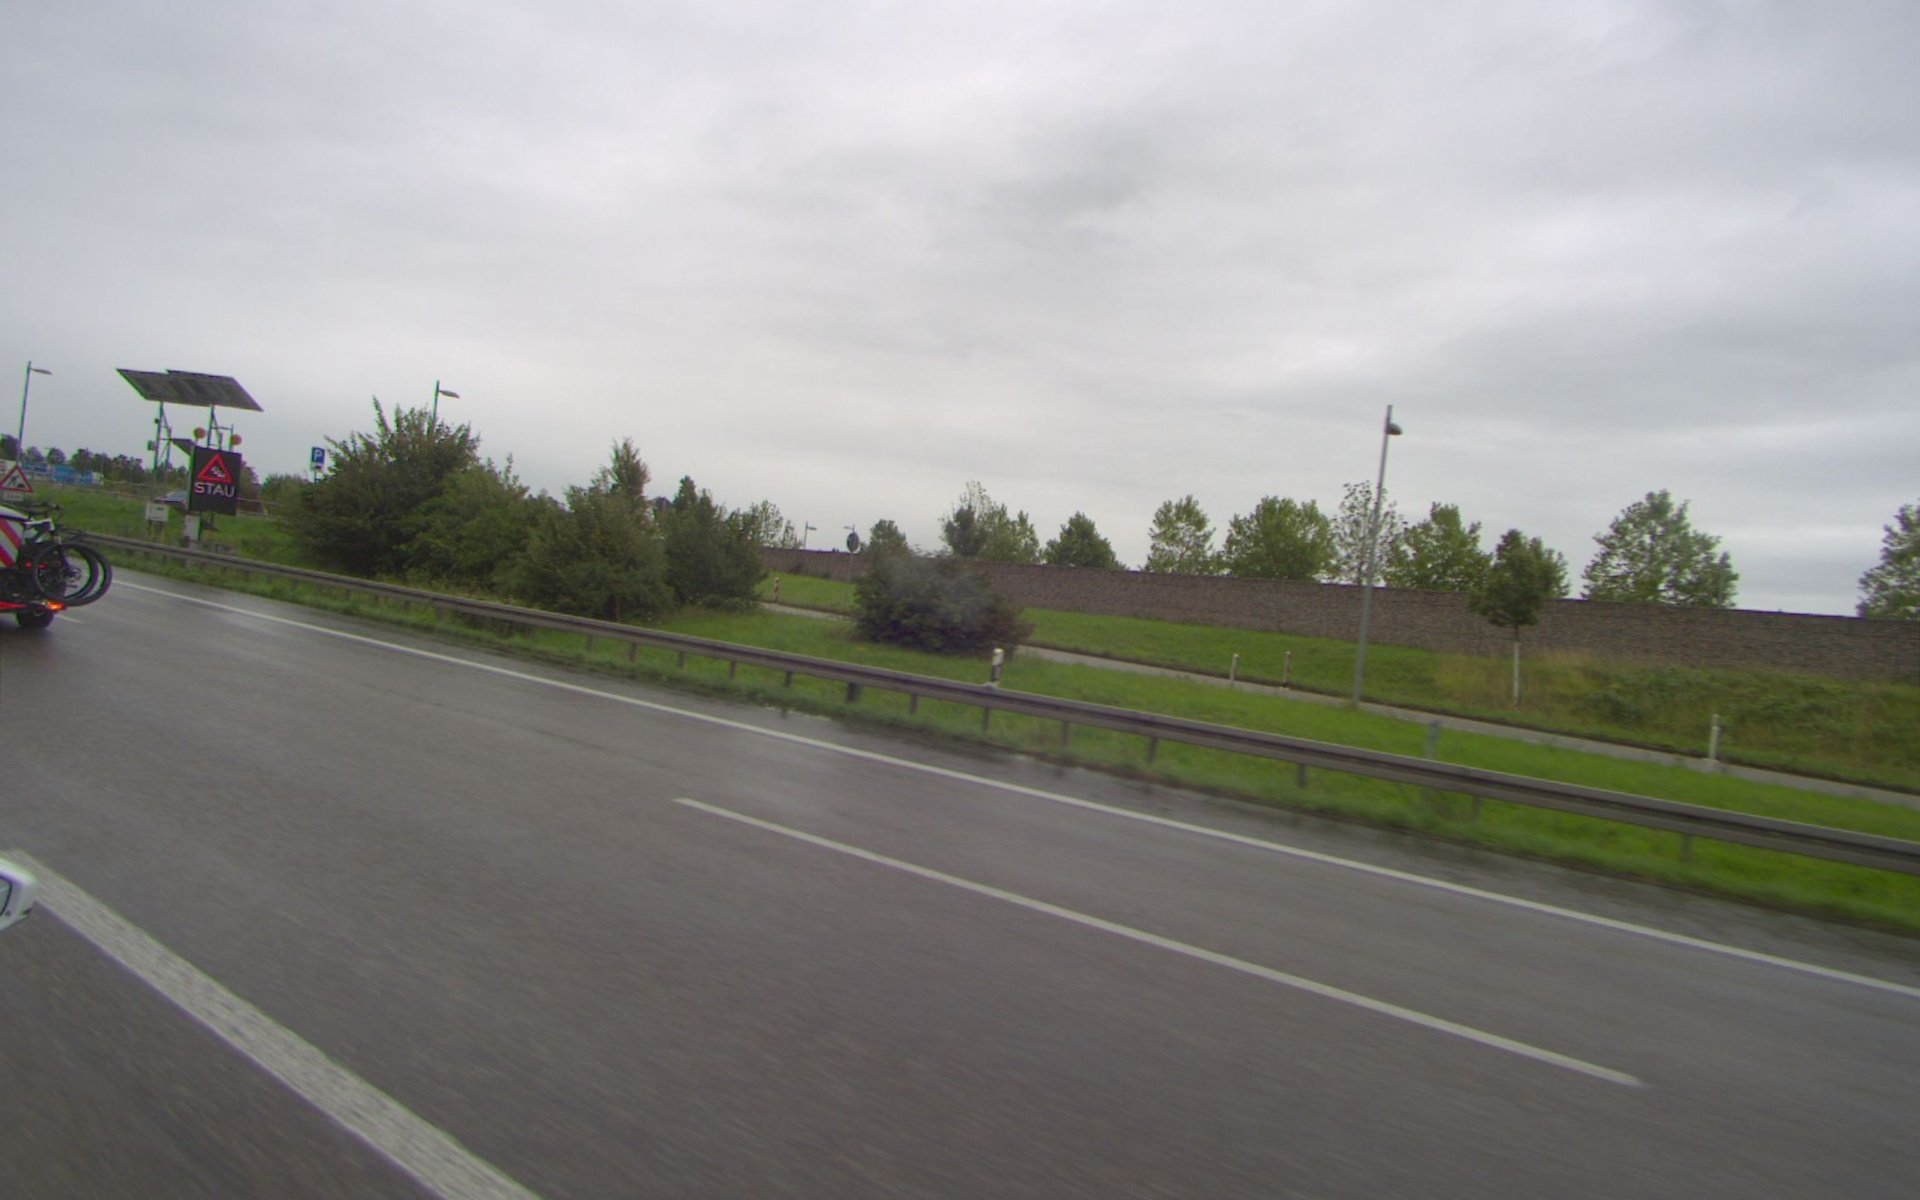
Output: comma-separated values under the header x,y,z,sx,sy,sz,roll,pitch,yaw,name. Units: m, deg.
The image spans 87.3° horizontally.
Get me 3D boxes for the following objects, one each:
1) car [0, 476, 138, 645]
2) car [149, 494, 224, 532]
x,y,z,sx,sy,sz,roll,pitch,yaw,name
-12.303,-0.657,12.051,5.431,1.690,2.061,6,-2,32,car
-44.121,-4.971,57.398,3.930,1.645,1.792,7,0,27,car
